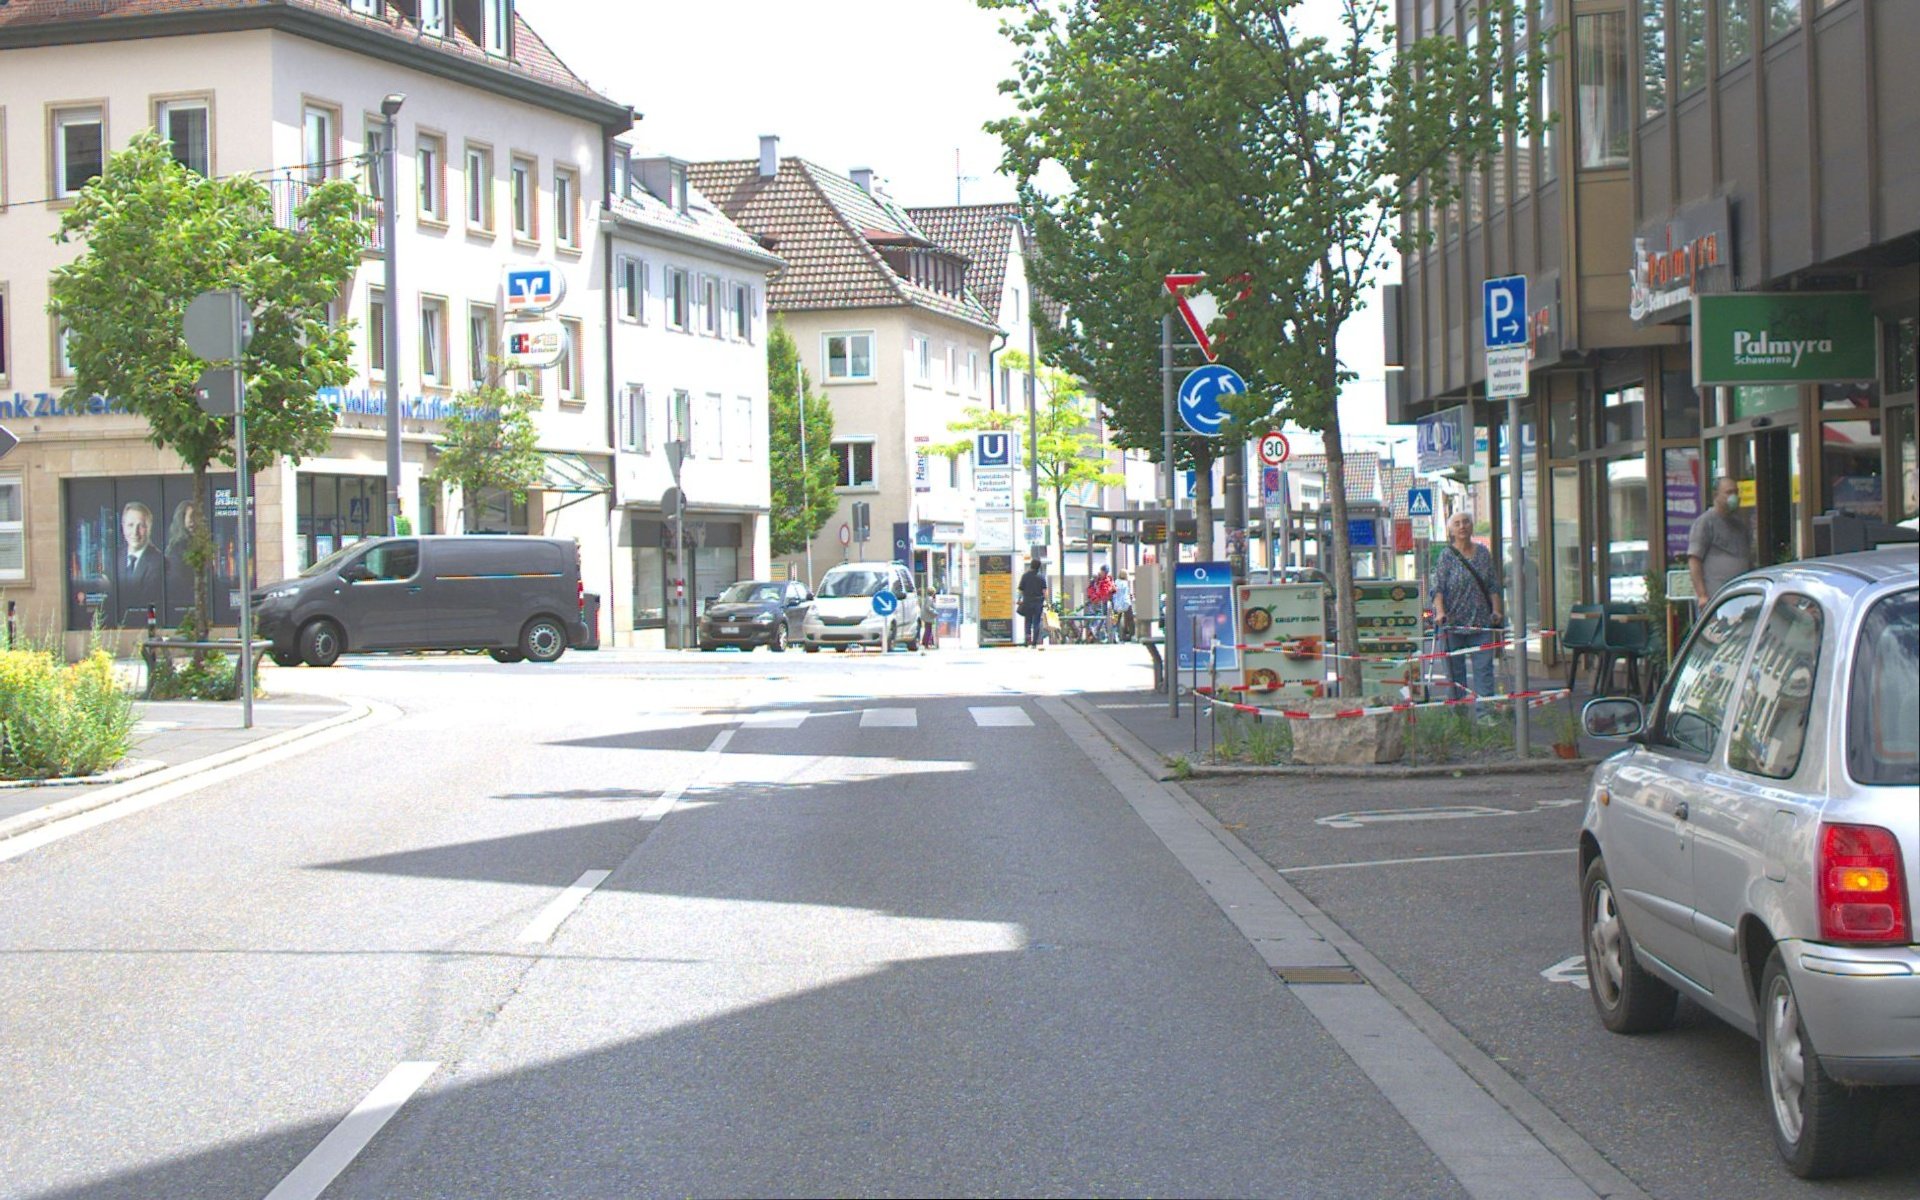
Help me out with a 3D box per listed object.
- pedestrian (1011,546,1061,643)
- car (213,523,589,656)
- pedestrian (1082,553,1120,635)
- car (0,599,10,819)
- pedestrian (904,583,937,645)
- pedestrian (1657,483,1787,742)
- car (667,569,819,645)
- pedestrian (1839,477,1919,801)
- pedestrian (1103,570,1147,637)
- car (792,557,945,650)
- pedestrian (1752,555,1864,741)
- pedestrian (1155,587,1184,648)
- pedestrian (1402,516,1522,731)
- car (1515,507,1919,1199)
[{"bbox_3d":[1.361,-0.100,61.124,0.869,1.702,0.531,0,0,2],"label":"pedestrian"},{"bbox_3d":[-8.049,-0.135,49.506,4.981,1.842,2.048,0,0,-23],"label":"car"},{"bbox_3d":[3.055,-0.135,74.328,0.727,1.757,0.748,0,1,10],"label":"pedestrian"},{"bbox_3d":[-6.180,0.627,16.898,1.818,1.219,4.524,1,1,-1],"label":"car"},{"bbox_3d":[-1.035,0.360,90.098,0.692,1.605,0.644,0,0,-16],"label":"pedestrian"},{"bbox_3d":[5.413,0.084,24.460,0.737,1.808,0.711,-1,0,-1],"label":"pedestrian"},{"bbox_3d":[-4.279,0.131,68.367,1.994,1.448,3.998,1,0,12],"label":"car"},{"bbox_3d":[5.195,0.204,18.437,0.655,1.701,0.647,0,0,-23],"label":"pedestrian"},{"bbox_3d":[3.868,0.079,80.785,0.729,1.574,0.747,0,1,40],"label":"pedestrian"},{"bbox_3d":[-1.681,0.055,64.610,1.994,1.683,3.998,1,0,12],"label":"car"},{"bbox_3d":[5.790,0.324,23.486,0.621,1.249,0.613,0,0,2],"label":"pedestrian"},{"bbox_3d":[4.559,0.370,74.853,0.591,1.312,0.591,0,0,5],"label":"pedestrian"},{"bbox_3d":[3.830,0.173,26.276,0.784,1.610,0.800,0,0,-1],"label":"pedestrian"},{"bbox_3d":[2.622,0.516,9.134,1.609,1.490,3.795,-4,1,1],"label":"car"}]
